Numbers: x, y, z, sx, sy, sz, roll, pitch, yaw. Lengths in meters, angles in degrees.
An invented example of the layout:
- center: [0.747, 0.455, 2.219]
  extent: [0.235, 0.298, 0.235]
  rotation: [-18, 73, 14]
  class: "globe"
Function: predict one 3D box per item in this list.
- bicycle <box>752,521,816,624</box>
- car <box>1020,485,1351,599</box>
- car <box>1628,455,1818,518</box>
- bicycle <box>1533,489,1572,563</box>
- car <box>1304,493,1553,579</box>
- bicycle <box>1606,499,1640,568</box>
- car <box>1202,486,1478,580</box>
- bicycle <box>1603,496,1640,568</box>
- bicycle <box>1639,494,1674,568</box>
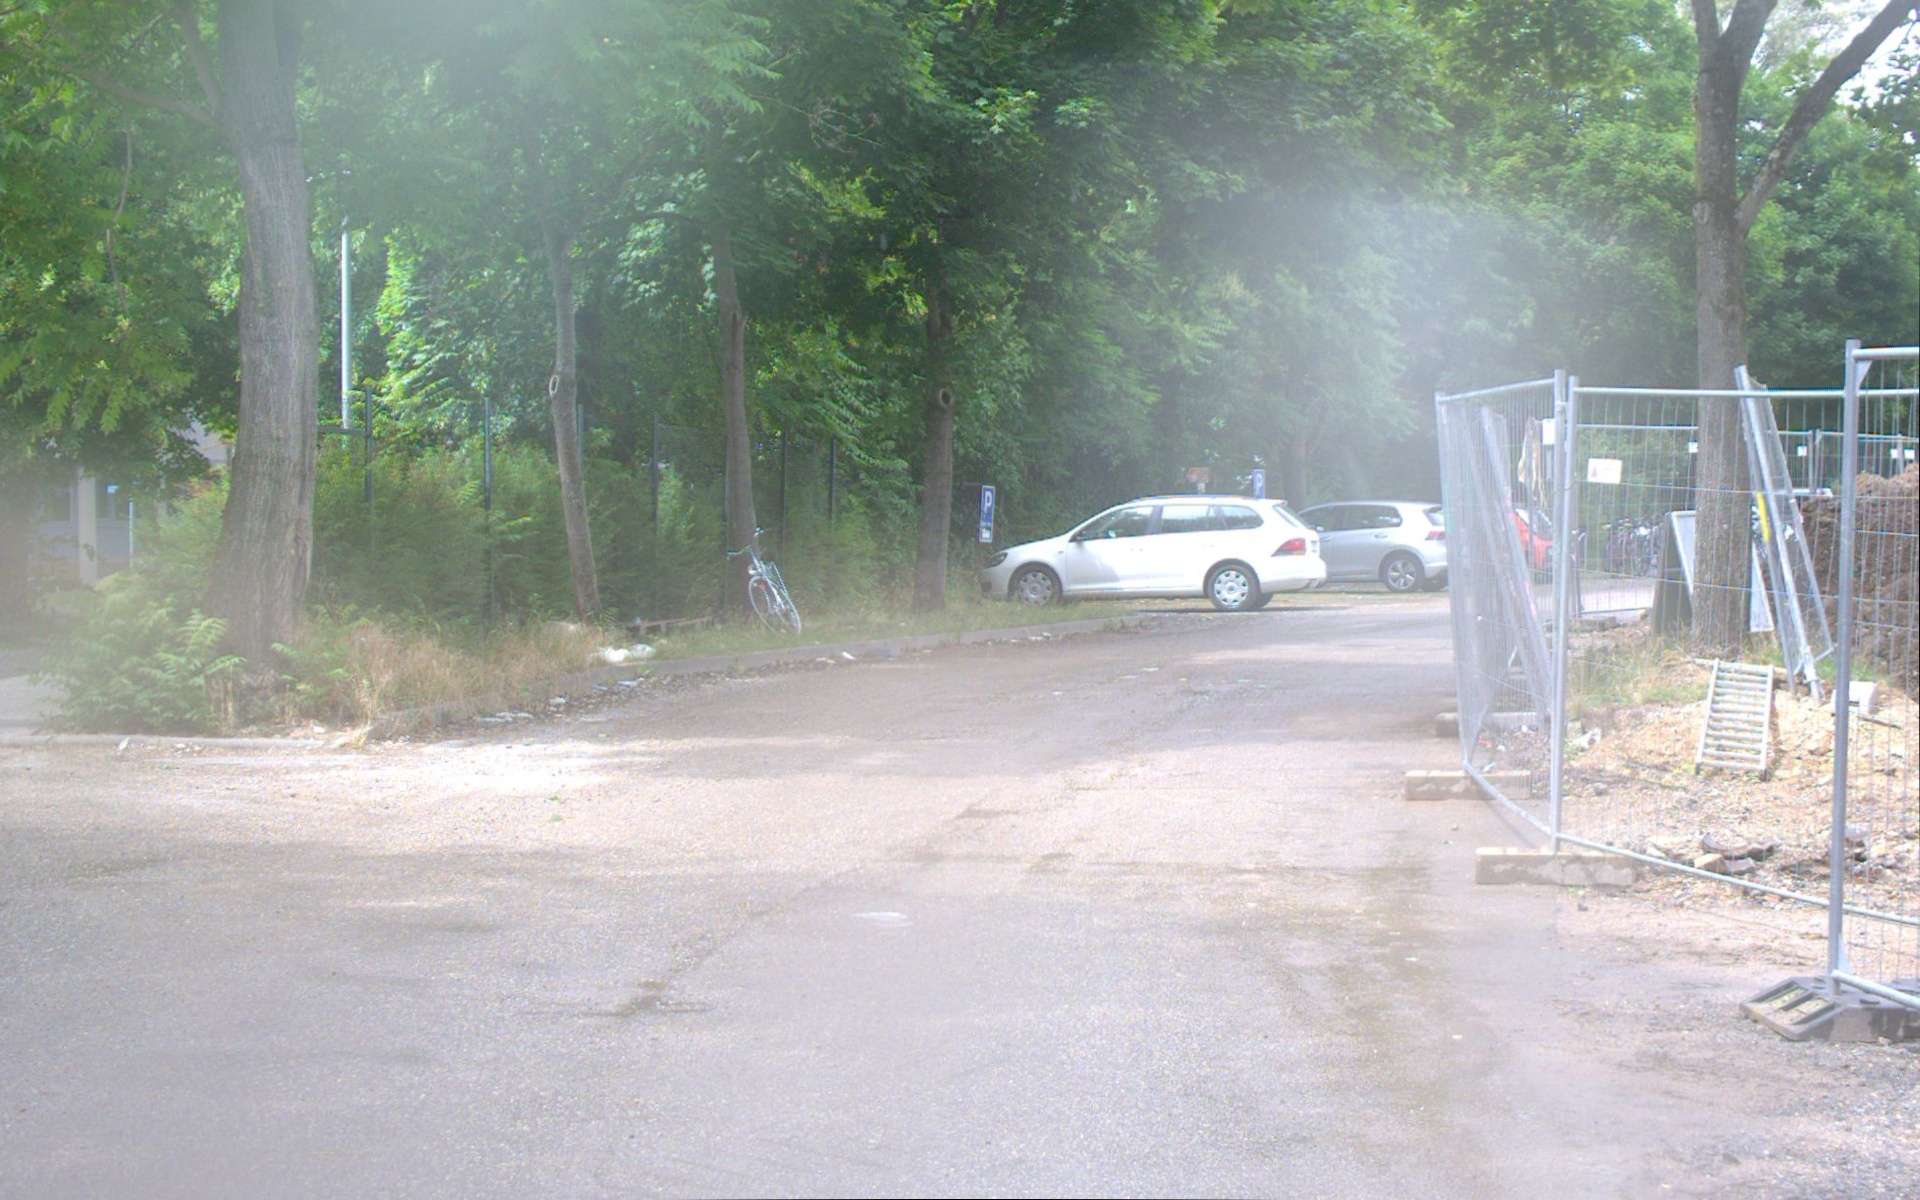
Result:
- center: [-1.591, -0.262, 31.249]
  extent: [0.467, 0.876, 1.570]
  rotation: [1, 2, 1]
  class: "bicycle"
- center: [2.977, -0.757, 44.998]
  extent: [4.037, 1.404, 1.980]
  rotation: [1, 1, 14]
  class: "car"
- center: [17.925, -2.658, 80.709]
  extent: [4.039, 1.404, 1.979]
  rotation: [1, 1, 24]
  class: "car"
- center: [10.839, -1.339, 62.818]
  extent: [0.596, 1.303, 2.668]
  rotation: [1, 1, 12]
  class: "bicycle"
- center: [8.033, -1.090, 58.822]
  extent: [4.037, 1.404, 1.980]
  rotation: [1, 1, 14]
  class: "car"
- center: [12.867, -1.273, 66.688]
  extent: [0.596, 1.303, 2.668]
  rotation: [1, 1, 12]
  class: "bicycle"
- center: [5.945, -1.037, 53.563]
  extent: [4.037, 1.404, 1.980]
  rotation: [1, 1, 14]
  class: "car"
- center: [12.042, -1.227, 62.570]
  extent: [0.596, 1.262, 2.668]
  rotation: [1, 1, 12]
  class: "bicycle"
- center: [12.658, -1.234, 62.456]
  extent: [0.596, 1.303, 2.668]
  rotation: [1, 1, 12]
  class: "bicycle"
